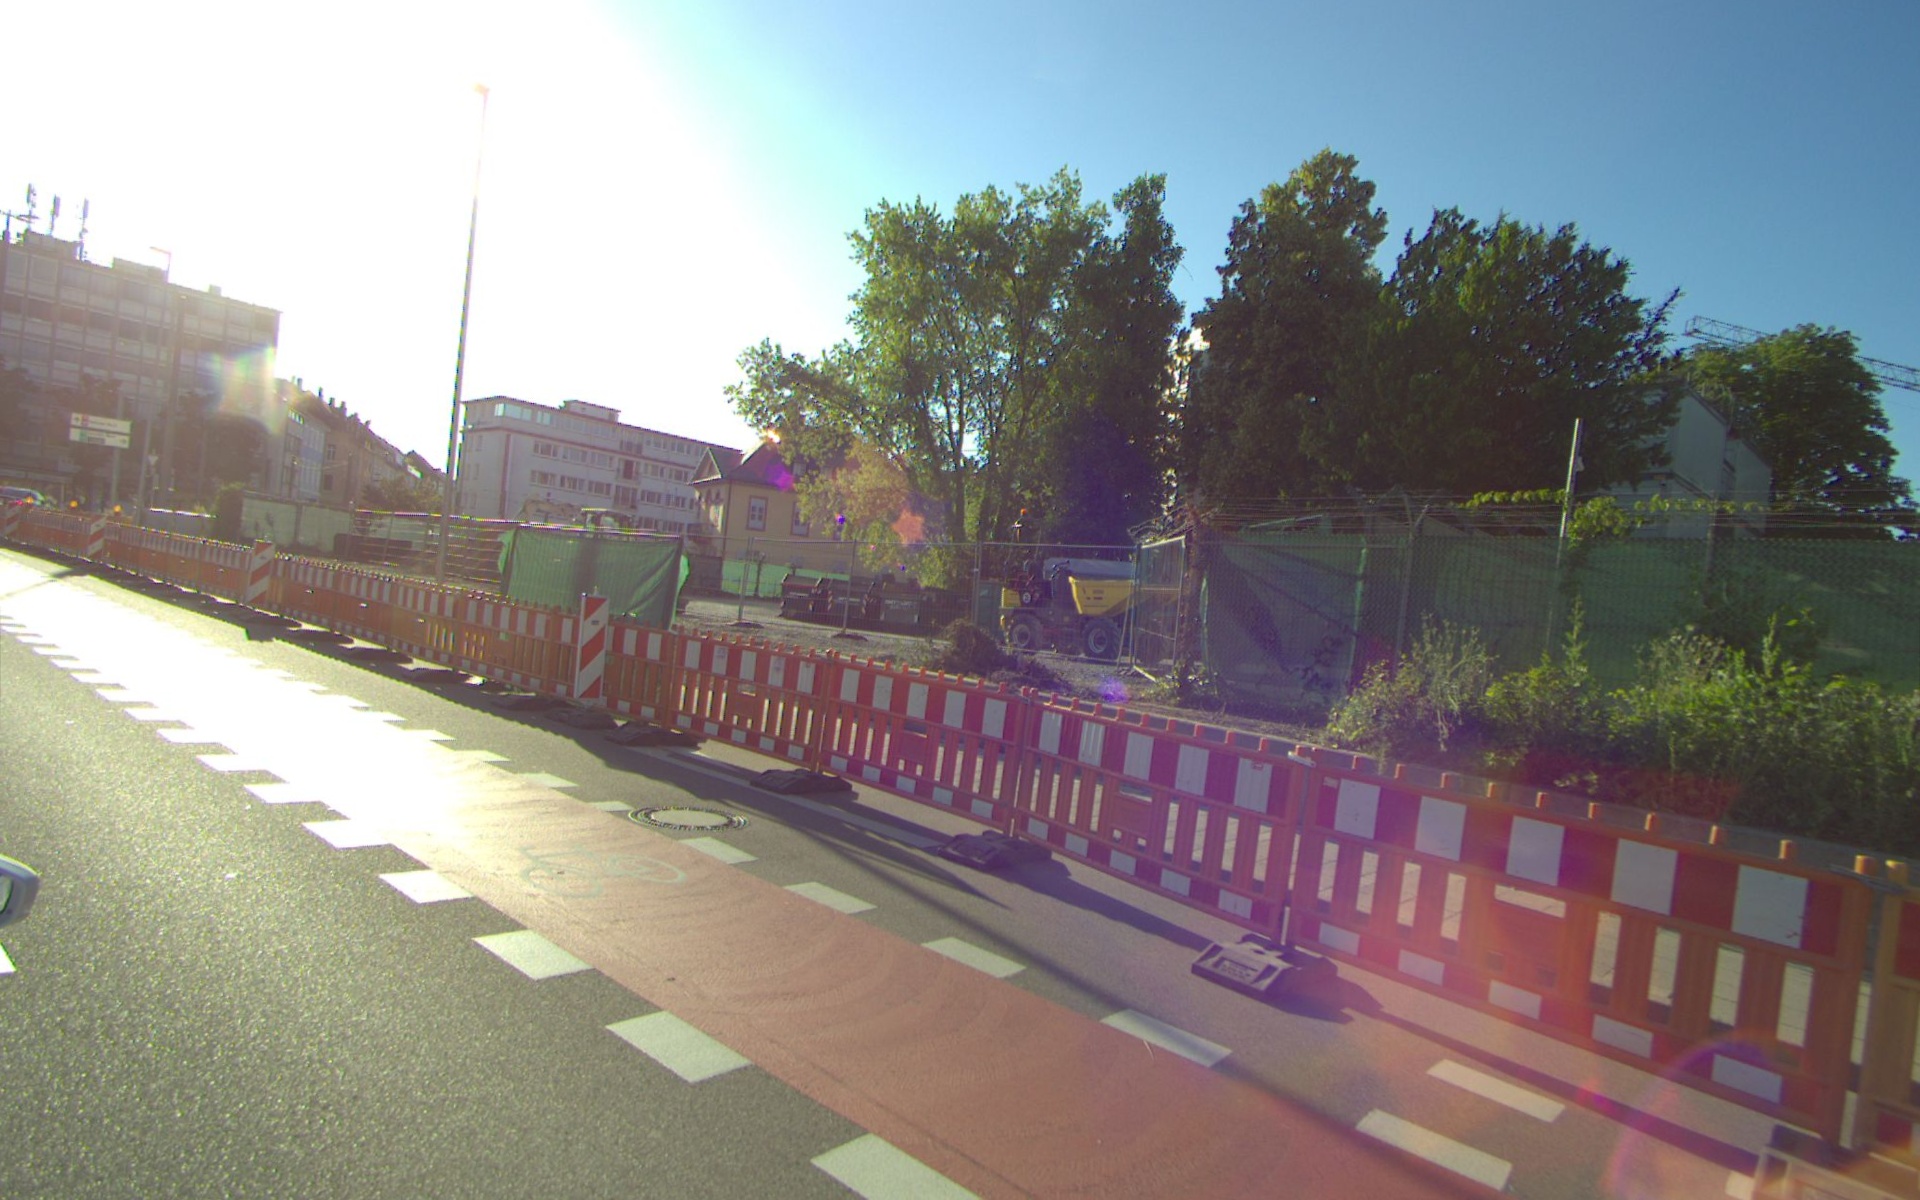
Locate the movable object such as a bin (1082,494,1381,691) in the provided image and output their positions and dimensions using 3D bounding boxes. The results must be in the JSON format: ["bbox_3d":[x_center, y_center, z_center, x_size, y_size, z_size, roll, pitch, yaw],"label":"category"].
[{"bbox_3d":[5.650,-0.264,21.550,5.425,3.602,2.270,7,1,44],"label":"movable object such as a bin"}]

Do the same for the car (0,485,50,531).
[{"bbox_3d":[-40.824,-4.004,43.029,1.980,1.714,3.965,8,0,-32],"label":"car"}]

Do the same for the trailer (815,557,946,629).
[{"bbox_3d":[-2.911,-0.188,38.159,2.191,2.350,5.030,1,-3,35],"label":"trailer"}]

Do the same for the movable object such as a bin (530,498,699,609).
[{"bbox_3d":[-10.234,-1.409,29.623,4.869,2.738,2.274,7,1,39],"label":"movable object such as a bin"}]

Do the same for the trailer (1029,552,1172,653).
[{"bbox_3d":[4.705,0.129,33.687,3.927,3.127,2.609,1,-3,36],"label":"trailer"}]

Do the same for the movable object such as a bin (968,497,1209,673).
[{"bbox_3d":[2.376,-0.353,19.351,1.987,2.941,3.950,6,1,-44],"label":"movable object such as a bin"}]

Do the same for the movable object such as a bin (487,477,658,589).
[{"bbox_3d":[-15.753,-2.620,40.922,6.006,3.602,2.843,7,1,-26],"label":"movable object such as a bin"}]

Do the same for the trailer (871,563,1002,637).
[{"bbox_3d":[-0.771,0.062,37.051,2.191,2.350,5.030,1,-3,35],"label":"trailer"}]

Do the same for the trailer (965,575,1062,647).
[{"bbox_3d":[1.937,0.423,36.007,2.191,2.350,2.946,1,-3,35],"label":"trailer"}]

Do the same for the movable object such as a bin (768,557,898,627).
[{"bbox_3d":[-4.894,-0.227,39.425,2.191,2.350,5.030,1,-3,35],"label":"movable object such as a bin"}]
